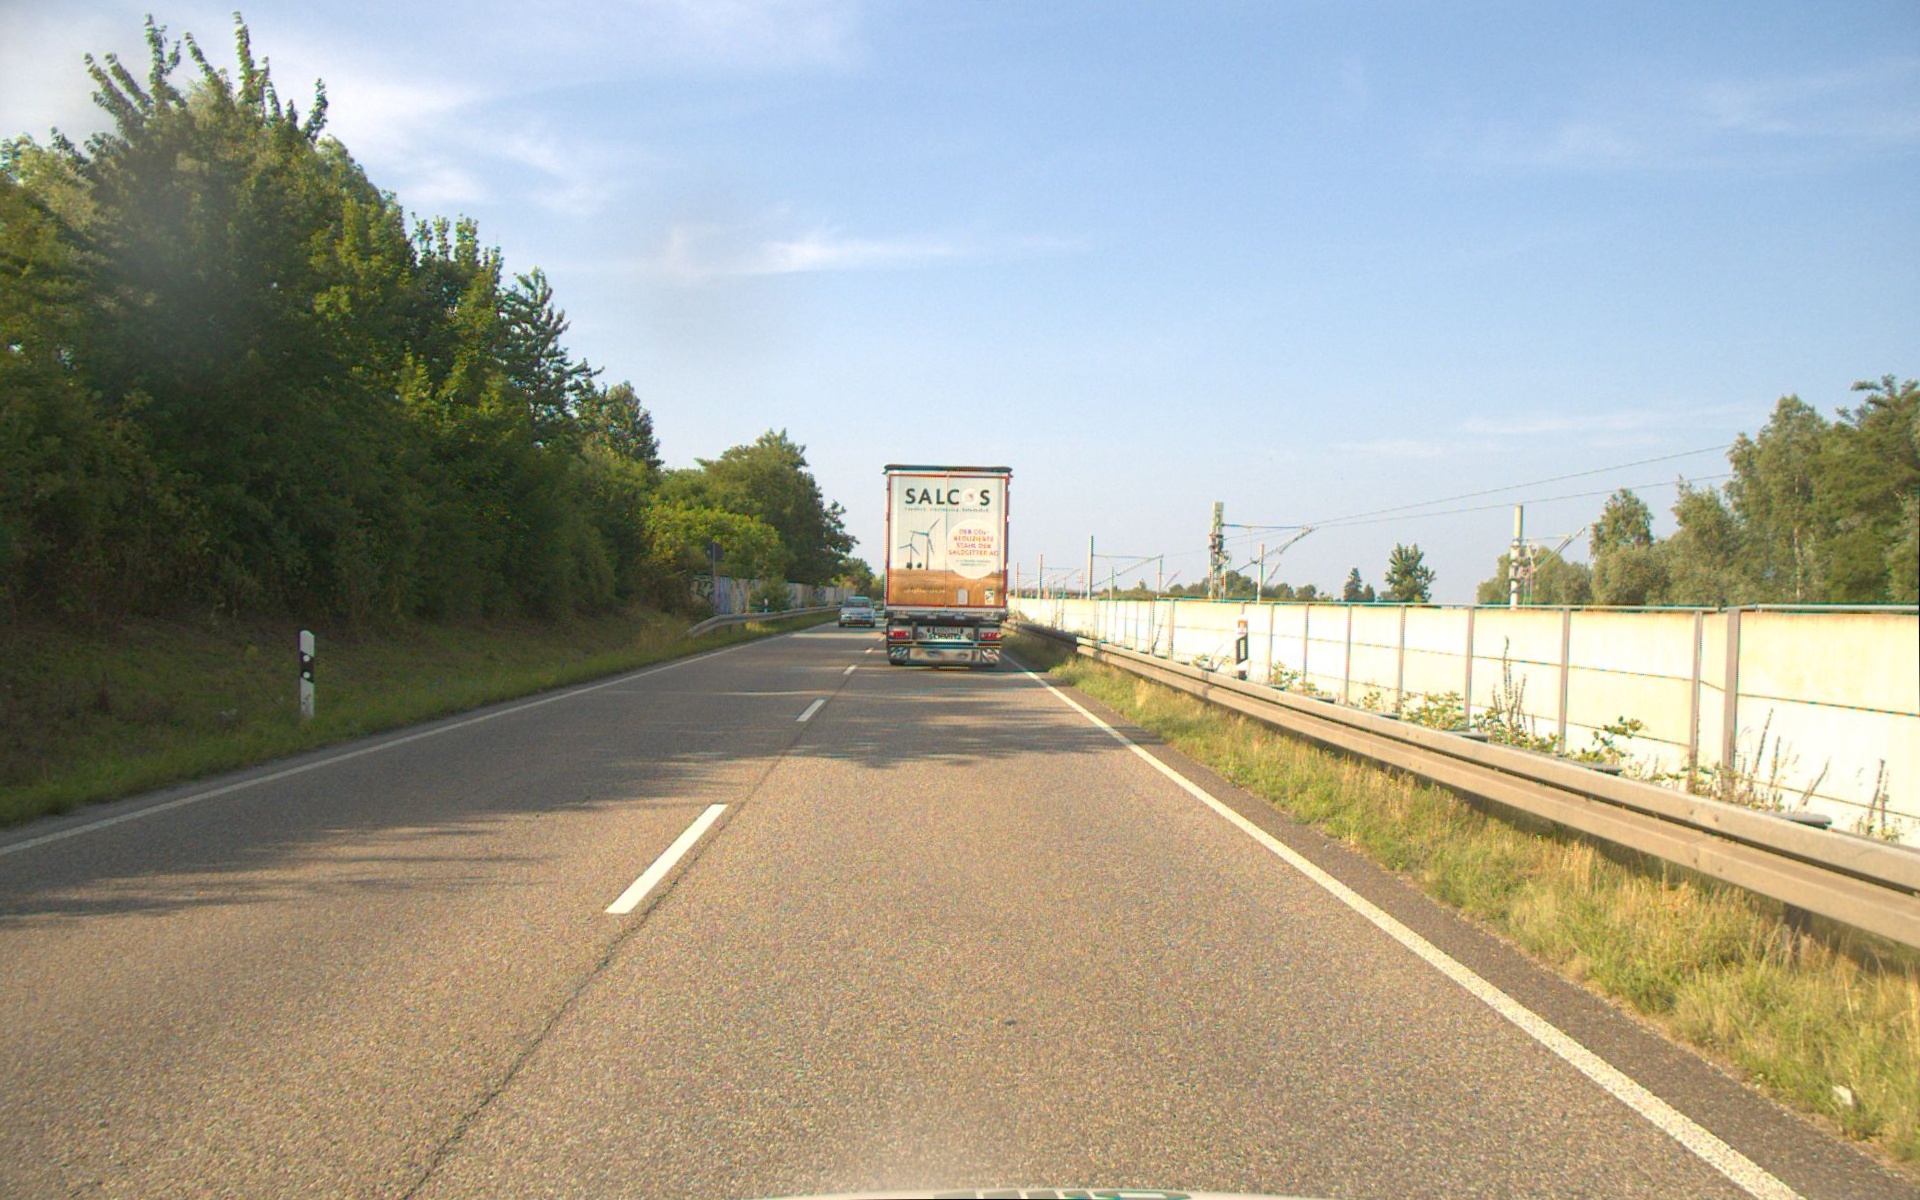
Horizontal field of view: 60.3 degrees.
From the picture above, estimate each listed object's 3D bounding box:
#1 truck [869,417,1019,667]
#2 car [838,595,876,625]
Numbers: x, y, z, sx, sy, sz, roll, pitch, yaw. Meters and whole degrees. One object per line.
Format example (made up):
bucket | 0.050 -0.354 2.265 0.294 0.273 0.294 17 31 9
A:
truck | -0.582 -1.207 39.047 2.972 5.006 11.678 1 0 -3
car | -4.980 0.472 80.216 1.685 1.418 4.359 1 0 -2
